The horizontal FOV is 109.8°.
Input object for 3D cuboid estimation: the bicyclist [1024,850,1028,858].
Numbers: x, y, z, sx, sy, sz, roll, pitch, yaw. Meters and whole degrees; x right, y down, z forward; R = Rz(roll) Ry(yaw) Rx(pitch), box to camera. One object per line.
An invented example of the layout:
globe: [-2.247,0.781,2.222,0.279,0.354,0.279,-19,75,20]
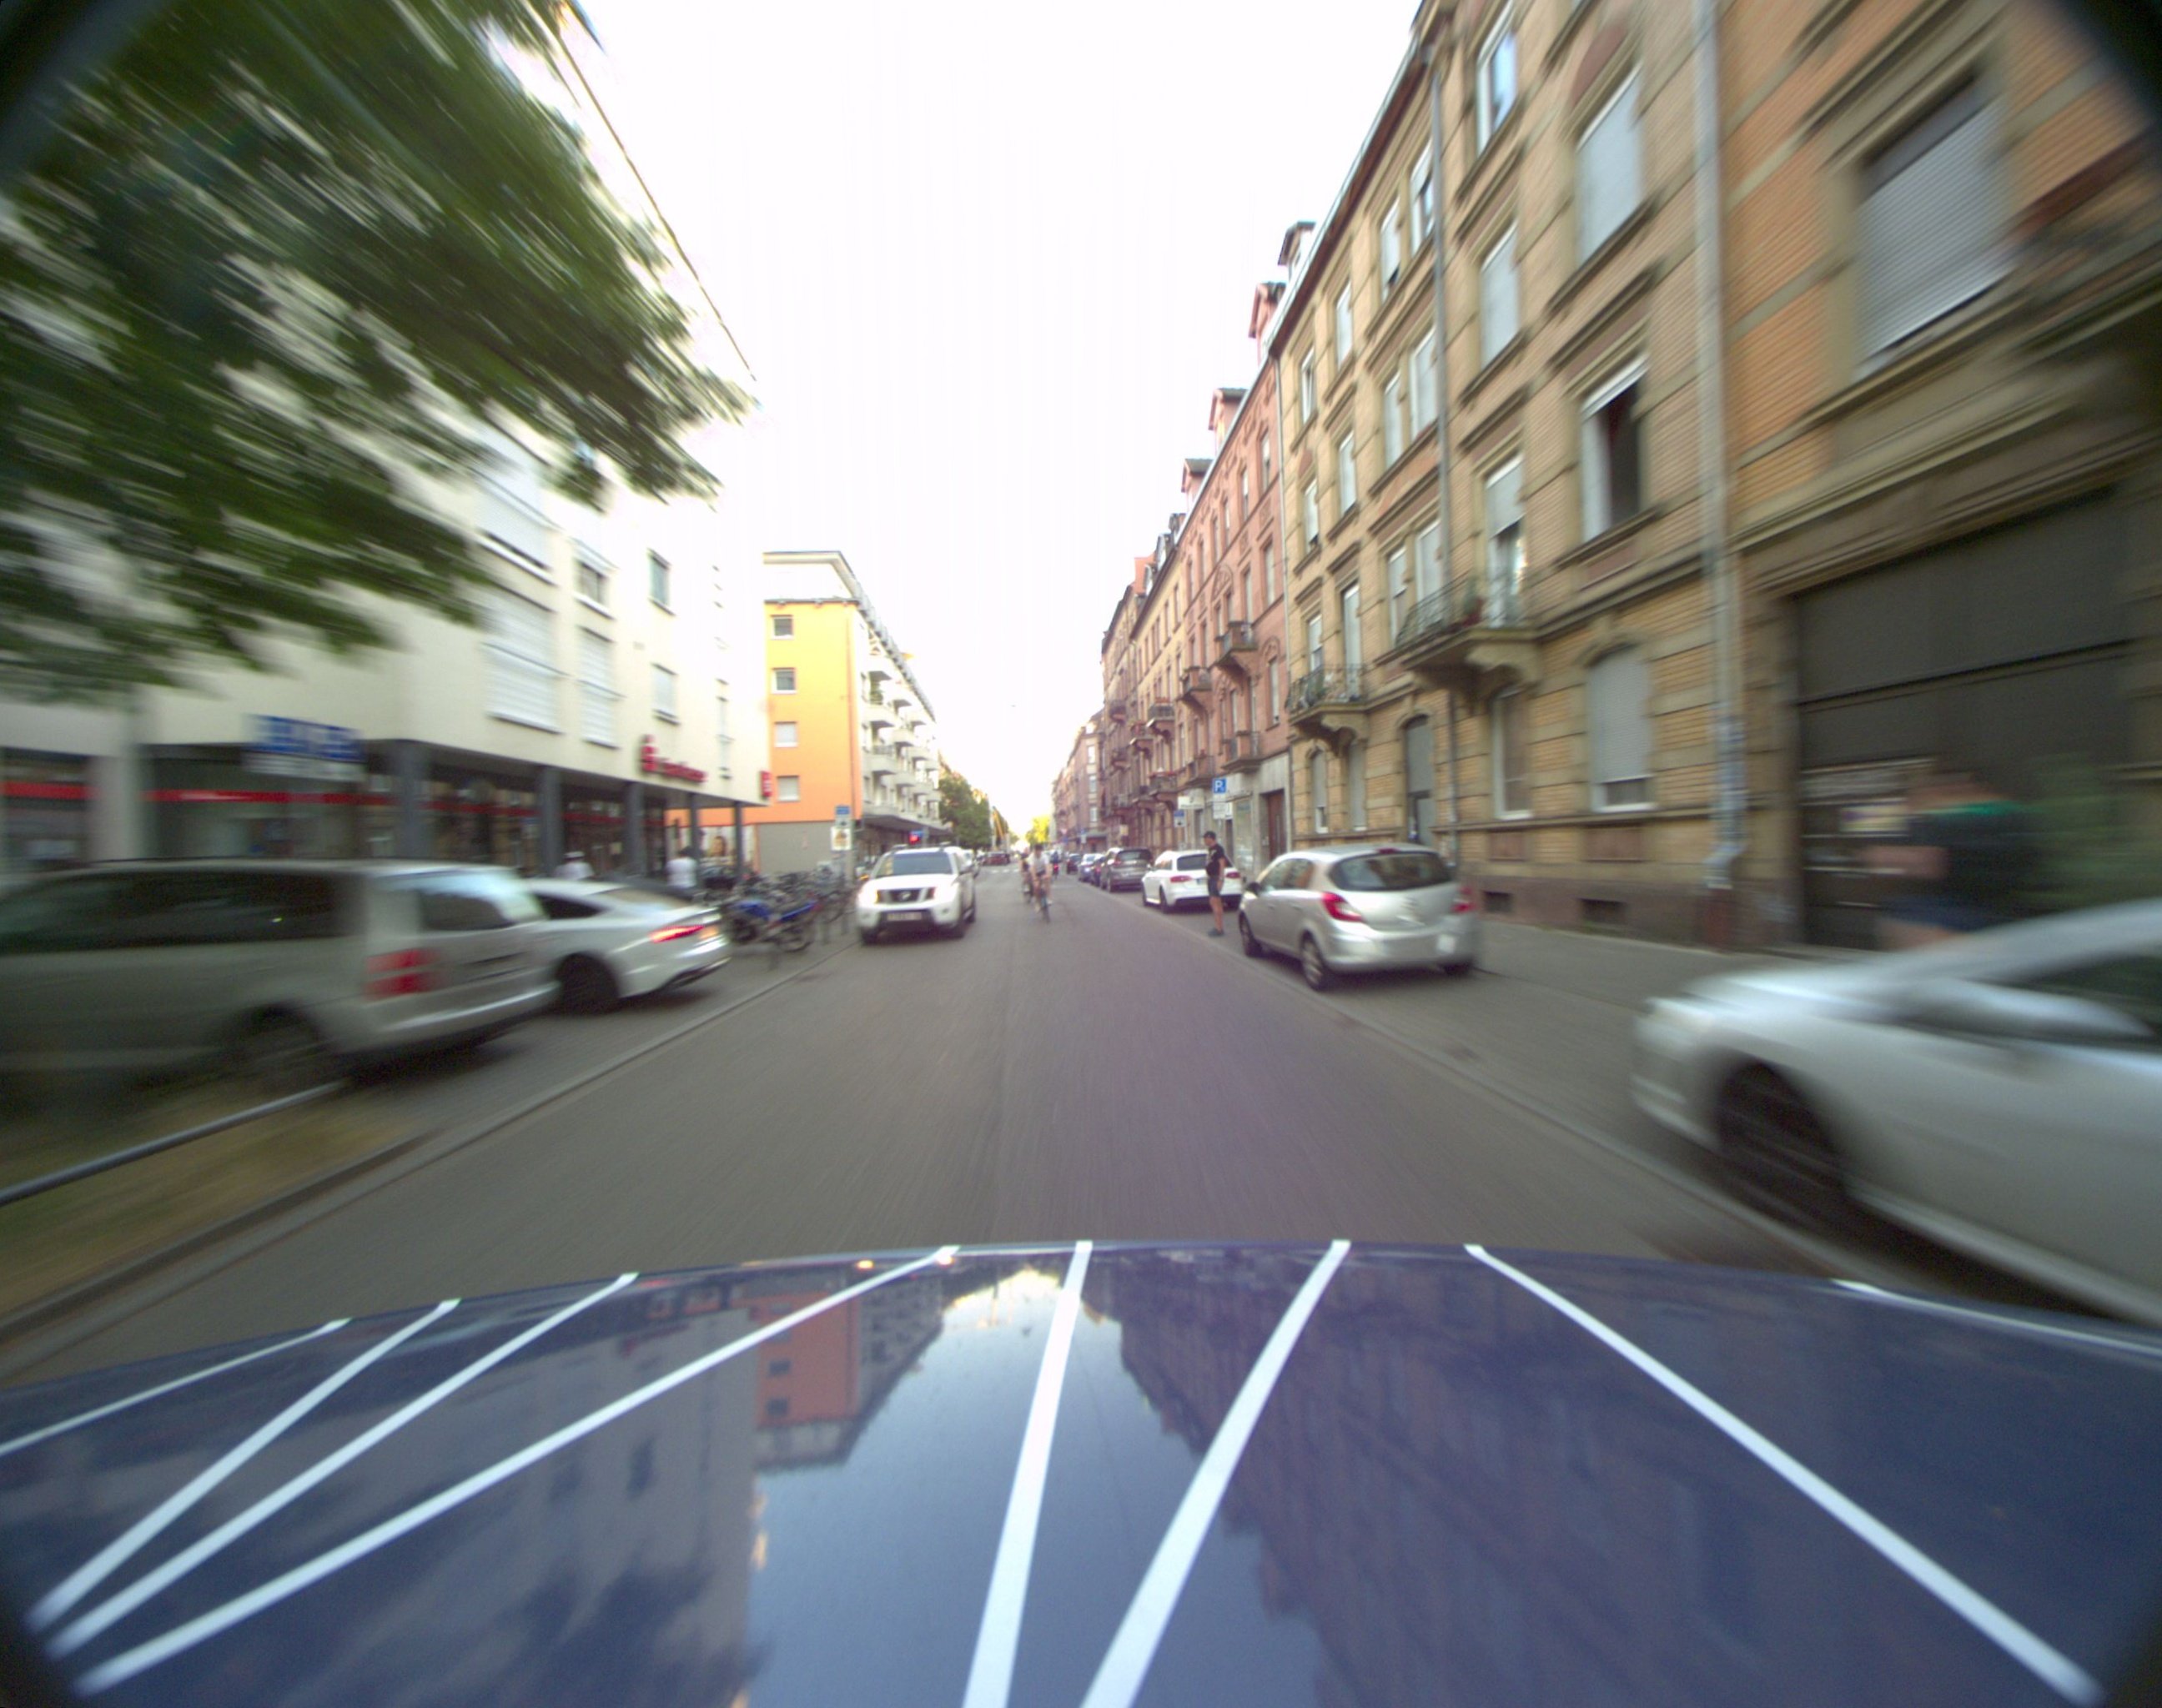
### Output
bicyclist: [-12.928,0.008,177.940,0.755,1.630,1.200,-3,0,-10]

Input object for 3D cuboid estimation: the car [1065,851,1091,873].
car: [-0.254,0.533,54.514,1.698,1.412,3.854,-3,0,-1]

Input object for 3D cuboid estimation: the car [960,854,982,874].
car: [-8.773,0.766,60.895,1.597,1.492,3.421,0,0,-6]

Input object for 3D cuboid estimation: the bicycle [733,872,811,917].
bicycle: [-7.958,1.043,19.615,1.727,1.111,0.653,0,1,-1]

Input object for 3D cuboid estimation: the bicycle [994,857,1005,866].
bicycle: [-10.992,1.028,102.813,0.667,1.162,2.110,0,0,-32]

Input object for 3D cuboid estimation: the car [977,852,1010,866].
car: [-12.047,0.727,104.768,4.006,1.658,1.823,-4,2,-35]

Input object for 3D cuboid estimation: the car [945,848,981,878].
car: [-7.927,0.580,51.625,1.964,1.962,5.000,0,0,-4]

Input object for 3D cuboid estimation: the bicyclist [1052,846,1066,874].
bicyclist: [-1.286,0.370,44.243,0.646,1.611,0.918,-1,1,7]

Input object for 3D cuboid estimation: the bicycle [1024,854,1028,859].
bicycle: [-12.902,0.494,177.943,0.755,1.124,1.974,-3,0,-10]

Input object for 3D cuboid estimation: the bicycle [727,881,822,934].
bicycle: [-6.477,1.129,16.118,1.724,1.025,0.667,2,1,-1]

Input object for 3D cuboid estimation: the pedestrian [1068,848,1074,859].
pedestrian: [-1.550,-0.116,120.080,0.748,1.733,1.213,-3,1,5]

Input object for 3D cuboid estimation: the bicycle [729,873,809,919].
bicycle: [-7.812,1.043,19.055,1.727,1.111,0.653,0,1,-1]

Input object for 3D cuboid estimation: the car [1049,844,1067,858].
car: [-3.406,-0.456,112.152,2.142,1.947,4.767,-3,1,-5]

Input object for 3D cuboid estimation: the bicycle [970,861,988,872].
bicycle: [-9.020,1.106,67.009,1.482,0.996,0.511,0,2,2]

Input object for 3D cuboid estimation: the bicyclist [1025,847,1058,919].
bicyclist: [-0.859,0.612,16.724,0.650,1.500,0.953,-3,2,-2]

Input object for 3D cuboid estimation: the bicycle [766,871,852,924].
bicycle: [-6.553,1.030,18.328,1.792,1.175,0.734,2,1,6]

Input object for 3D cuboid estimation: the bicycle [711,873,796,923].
bicycle: [-7.725,1.026,17.976,1.728,1.111,0.653,0,1,-7]

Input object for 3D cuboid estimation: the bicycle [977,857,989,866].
bicycle: [-13.062,1.013,101.200,0.667,1.158,2.110,0,0,-32]

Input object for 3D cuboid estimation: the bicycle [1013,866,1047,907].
bicycle: [-1.553,0.941,22.811,0.794,1.133,2.341,-3,0,-8]

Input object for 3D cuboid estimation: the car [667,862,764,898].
car: [-17.177,1.190,35.832,3.678,1.467,1.705,-2,2,-3]

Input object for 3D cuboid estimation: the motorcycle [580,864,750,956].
motorcycle: [-7.219,0.959,13.279,2.498,1.540,0.823,0,1,-1]

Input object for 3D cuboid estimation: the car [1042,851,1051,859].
car: [-7.791,0.241,171.892,1.999,1.729,3.998,-3,2,-1]

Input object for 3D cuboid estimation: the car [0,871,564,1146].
car: [-6.623,0.972,5.533,4.411,1.638,1.745,0,0,-5]

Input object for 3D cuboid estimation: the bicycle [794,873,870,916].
bicycle: [-6.687,1.073,20.487,1.814,1.111,0.706,0,1,-6]

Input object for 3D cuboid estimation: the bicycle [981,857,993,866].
bicycle: [-12.559,1.024,101.524,0.667,1.125,2.110,0,0,-32]

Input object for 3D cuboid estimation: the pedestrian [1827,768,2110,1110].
pedestrian: [5.093,0.450,4.414,0.607,1.762,0.777,-5,0,-8]

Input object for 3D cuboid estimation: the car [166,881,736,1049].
car: [-6.352,1.066,8.237,4.438,1.447,1.778,0,0,-10]

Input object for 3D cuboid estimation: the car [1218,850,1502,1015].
car: [3.010,0.740,9.190,1.721,1.449,3.999,-4,0,-3]

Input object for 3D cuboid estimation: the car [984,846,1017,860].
car: [-14.139,-0.116,133.583,5.153,2.182,2.333,-4,2,-29]

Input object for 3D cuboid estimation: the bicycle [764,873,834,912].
bicycle: [-7.947,1.075,21.450,1.727,1.048,0.653,0,1,-1]

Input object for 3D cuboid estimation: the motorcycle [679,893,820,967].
motorcycle: [-5.400,1.223,12.506,2.066,1.072,0.662,0,1,-19]

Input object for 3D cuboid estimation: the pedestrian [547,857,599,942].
pedestrian: [-10.545,0.929,15.779,0.663,1.713,0.664,-2,-1,30]

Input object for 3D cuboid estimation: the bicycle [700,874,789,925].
bicycle: [-7.621,1.019,17.260,1.728,1.111,0.653,0,1,-7]

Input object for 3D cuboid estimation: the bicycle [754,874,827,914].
bicycle: [-7.936,1.081,20.778,1.727,1.048,0.653,0,1,-1]

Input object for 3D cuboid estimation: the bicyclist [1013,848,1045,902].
bicyclist: [-1.566,0.616,22.770,0.794,1.562,0.826,-3,0,-8]

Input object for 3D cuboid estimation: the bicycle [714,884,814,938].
bicycle: [-6.448,1.155,15.500,1.777,1.016,0.565,2,1,-1]

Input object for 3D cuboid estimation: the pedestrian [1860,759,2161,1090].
pedestrian: [5.671,0.387,4.661,0.582,1.761,0.997,-5,0,-8]

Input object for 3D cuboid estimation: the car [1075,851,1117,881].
car: [0.755,0.596,40.419,1.727,1.412,4.579,-3,1,-4]

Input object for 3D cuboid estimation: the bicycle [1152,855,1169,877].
bicycle: [4.228,0.631,40.659,0.550,1.117,1.759,-5,0,-4]

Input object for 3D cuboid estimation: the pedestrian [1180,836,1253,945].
pedestrian: [2.274,0.592,12.799,0.557,1.745,1.019,-4,3,-39]

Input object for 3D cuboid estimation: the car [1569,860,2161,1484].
car: [3.579,0.807,1.633,1.789,1.414,4.482,-4,1,-6]

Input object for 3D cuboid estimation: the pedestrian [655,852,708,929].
pedestrian: [-9.251,0.832,17.589,0.915,1.713,0.774,1,-1,-41]

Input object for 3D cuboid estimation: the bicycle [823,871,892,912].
bicycle: [-6.251,1.040,21.308,1.727,1.111,0.706,0,1,-6]

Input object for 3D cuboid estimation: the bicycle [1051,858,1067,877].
bicycle: [-1.264,0.782,44.470,0.646,1.074,2.169,-1,0,7]

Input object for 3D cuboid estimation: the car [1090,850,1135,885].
car: [1.386,0.588,34.520,1.589,1.412,3.695,-3,0,-3]

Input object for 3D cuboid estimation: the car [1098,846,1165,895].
car: [1.815,0.579,28.889,1.858,1.624,4.444,-3,0,-4]

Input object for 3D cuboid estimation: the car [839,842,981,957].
car: [-3.237,0.738,15.520,1.916,1.842,5.268,-3,1,-3]

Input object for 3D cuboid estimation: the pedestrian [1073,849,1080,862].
pedestrian: [-0.589,0.246,104.308,0.655,1.768,0.692,-3,0,14]

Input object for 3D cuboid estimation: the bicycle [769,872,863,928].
bicycle: [-6.078,1.055,17.489,1.874,1.175,0.743,2,1,1]

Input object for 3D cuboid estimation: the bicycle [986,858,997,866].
bicycle: [-11.991,1.036,101.925,0.667,1.125,2.110,0,0,-32]

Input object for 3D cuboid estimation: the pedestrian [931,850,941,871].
pedestrian: [-11.517,0.487,60.279,0.710,1.656,0.744,-1,2,-5]

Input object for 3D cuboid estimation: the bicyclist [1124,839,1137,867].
bicyclist: [3.105,-0.065,47.853,0.709,1.720,0.843,-2,2,8]

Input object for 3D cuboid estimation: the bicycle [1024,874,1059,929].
bicycle: [-0.846,1.018,16.719,0.658,1.012,1.917,-3,2,-2]

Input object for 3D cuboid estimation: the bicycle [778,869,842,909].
bicycle: [-7.985,1.027,22.474,1.729,1.125,0.578,0,1,-16]

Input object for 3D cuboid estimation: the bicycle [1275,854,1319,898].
bicycle: [5.812,0.566,20.496,0.517,1.125,1.730,-3,0,-5]

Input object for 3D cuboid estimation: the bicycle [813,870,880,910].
bicycle: [-6.816,1.035,22.131,1.727,1.111,0.707,0,1,-1]

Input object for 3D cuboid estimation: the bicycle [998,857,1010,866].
bicycle: [-10.416,1.024,102.728,0.667,1.162,2.110,0,0,-32]

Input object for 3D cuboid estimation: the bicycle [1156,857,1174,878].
bicycle: [4.320,0.681,39.261,0.550,1.031,1.759,-5,0,-4]

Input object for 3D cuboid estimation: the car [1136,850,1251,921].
car: [2.582,0.677,18.482,1.763,1.403,4.507,-3,0,-4]

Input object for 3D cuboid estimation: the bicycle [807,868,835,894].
bicycle: [-12.405,1.274,36.289,0.564,1.061,1.963,-1,2,1]
